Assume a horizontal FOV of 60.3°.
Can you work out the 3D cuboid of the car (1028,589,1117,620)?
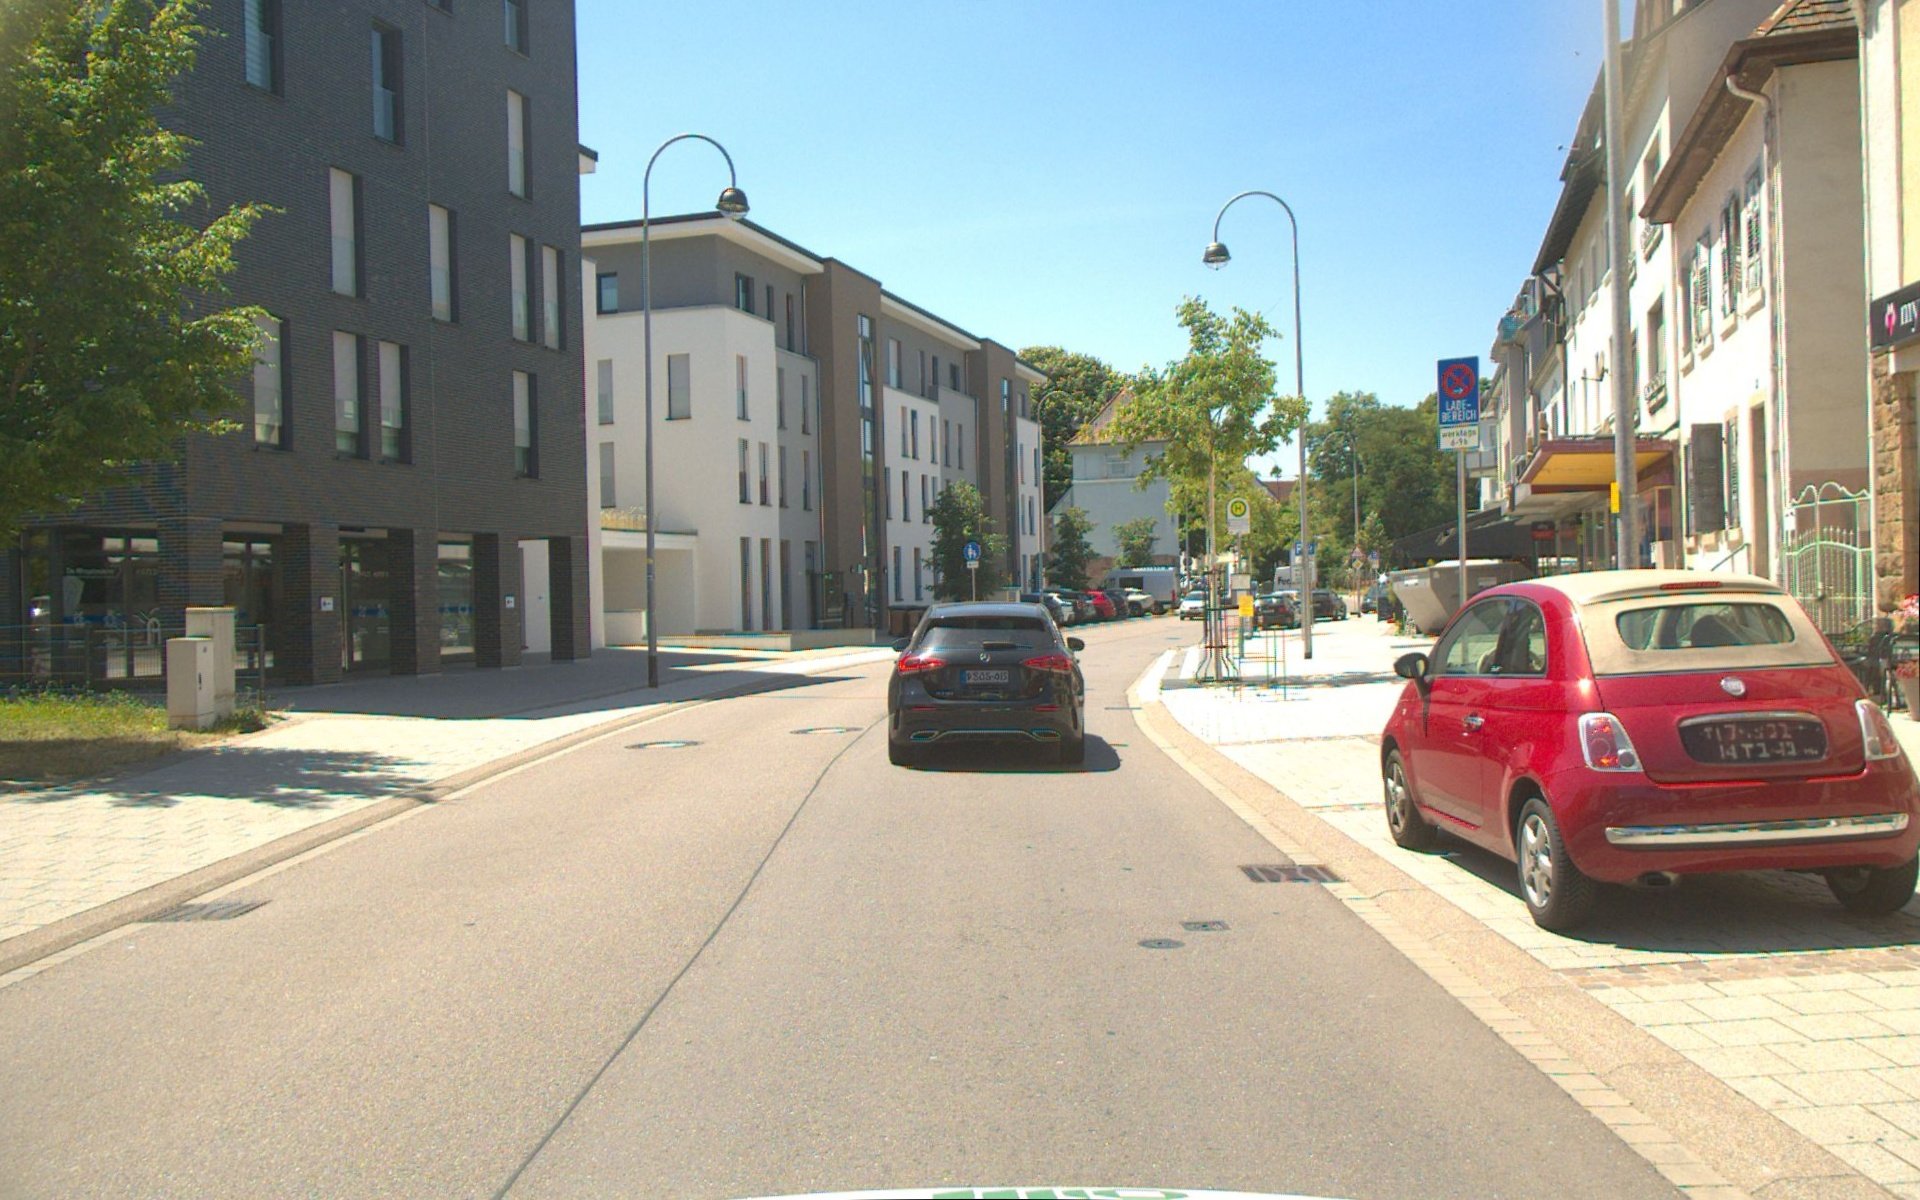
[{"bbox_3d":[5.479,0.211,80.401,3.948,1.455,2.001,0,0,19],"label":"car"}]

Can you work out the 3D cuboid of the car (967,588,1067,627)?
[{"bbox_3d":[2.485,0.309,71.238,3.903,1.541,2.001,0,2,18],"label":"car"}]

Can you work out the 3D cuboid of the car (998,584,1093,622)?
[{"bbox_3d":[3.932,0.132,75.665,3.948,1.680,2.001,0,0,19],"label":"car"}]

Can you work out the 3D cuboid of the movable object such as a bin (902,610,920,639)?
[{"bbox_3d":[-1.729,0.863,58.161,0.473,1.015,0.527,-1,0,16],"label":"movable object such as a bin"}]

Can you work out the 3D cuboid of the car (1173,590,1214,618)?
[{"bbox_3d":[12.090,0.191,85.487,1.632,1.420,3.850,-1,0,15],"label":"car"}]

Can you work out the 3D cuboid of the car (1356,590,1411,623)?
[{"bbox_3d":[22.858,0.332,89.284,1.837,1.517,3.855,-3,1,30],"label":"car"}]

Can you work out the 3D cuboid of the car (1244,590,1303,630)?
[{"bbox_3d":[12.776,0.398,67.222,1.794,1.508,4.097,-3,-1,18],"label":"car"}]

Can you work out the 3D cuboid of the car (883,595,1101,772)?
[{"bbox_3d":[0.180,0.709,16.001,1.791,1.467,3.997,-1,0,-3],"label":"car"}]

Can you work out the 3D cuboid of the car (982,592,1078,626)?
[{"bbox_3d":[3.119,0.388,73.278,3.903,1.446,1.911,0,0,18],"label":"car"}]

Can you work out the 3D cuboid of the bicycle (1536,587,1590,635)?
[{"bbox_3d":[15.288,0.267,41.956,1.244,1.204,0.415,0,-1,25],"label":"bicycle"}]

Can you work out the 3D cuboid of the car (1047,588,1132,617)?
[{"bbox_3d":[6.652,0.105,85.016,4.110,1.463,1.887,0,0,13],"label":"car"}]

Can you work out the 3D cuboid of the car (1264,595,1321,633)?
[{"bbox_3d":[14.779,0.610,73.413,1.702,1.512,4.054,-4,-1,22],"label":"car"}]

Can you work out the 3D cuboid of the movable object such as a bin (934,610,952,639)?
[{"bbox_3d":[-0.610,0.867,58.238,0.473,1.015,0.588,-1,0,16],"label":"movable object such as a bin"}]

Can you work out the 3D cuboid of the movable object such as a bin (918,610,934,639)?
[{"bbox_3d":[-1.195,0.865,58.102,0.415,1.015,0.524,-1,0,17],"label":"movable object such as a bin"}]

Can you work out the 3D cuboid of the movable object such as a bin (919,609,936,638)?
[{"bbox_3d":[-1.190,0.860,60.567,0.607,1.057,0.582,-1,0,0],"label":"movable object such as a bin"}]

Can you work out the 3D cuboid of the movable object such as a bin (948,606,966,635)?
[{"bbox_3d":[-0.099,0.744,61.007,0.542,1.038,0.561,-1,0,12],"label":"movable object such as a bin"}]

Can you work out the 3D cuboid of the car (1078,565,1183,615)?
[{"bbox_3d":[9.814,-0.572,94.887,5.646,2.780,2.293,0,0,18],"label":"car"}]

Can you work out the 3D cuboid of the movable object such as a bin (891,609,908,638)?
[{"bbox_3d":[-2.153,0.837,58.973,0.472,1.015,0.588,-1,0,10],"label":"movable object such as a bin"}]

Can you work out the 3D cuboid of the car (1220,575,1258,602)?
[{"bbox_3d":[17.638,-0.703,104.587,1.901,1.687,4.238,0,0,16],"label":"car"}]

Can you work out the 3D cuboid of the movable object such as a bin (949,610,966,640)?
[{"bbox_3d":[-0.081,0.872,57.952,0.472,1.015,0.588,-1,0,10],"label":"movable object such as a bin"}]

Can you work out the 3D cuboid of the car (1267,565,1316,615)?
[{"bbox_3d":[18.622,-0.545,92.794,2.083,2.676,5.280,-1,0,18],"label":"car"}]

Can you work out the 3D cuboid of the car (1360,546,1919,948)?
[{"bbox_3d":[3.307,0.578,8.362,1.645,1.540,3.386,-3,0,-1],"label":"car"}]

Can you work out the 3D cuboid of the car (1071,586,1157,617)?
[{"bbox_3d":[8.403,0.075,90.166,4.359,1.619,2.001,0,0,17],"label":"car"}]

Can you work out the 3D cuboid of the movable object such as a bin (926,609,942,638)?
[{"bbox_3d":[-0.916,0.841,58.608,0.394,1.015,0.556,-1,0,15],"label":"movable object such as a bin"}]

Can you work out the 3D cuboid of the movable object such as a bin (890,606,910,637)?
[{"bbox_3d":[-2.199,0.769,60.485,0.678,1.115,0.647,-1,0,0],"label":"movable object such as a bin"}]

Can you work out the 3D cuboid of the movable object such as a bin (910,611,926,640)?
[{"bbox_3d":[-1.498,0.907,58.689,0.394,1.015,0.556,-1,0,15],"label":"movable object such as a bin"}]

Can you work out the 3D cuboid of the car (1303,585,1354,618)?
[{"bbox_3d":[17.619,0.061,79.015,1.689,1.430,4.609,-2,0,21],"label":"car"}]

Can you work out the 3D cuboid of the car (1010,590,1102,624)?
[{"bbox_3d":[4.553,0.319,78.418,3.948,1.523,2.001,0,0,19],"label":"car"}]
